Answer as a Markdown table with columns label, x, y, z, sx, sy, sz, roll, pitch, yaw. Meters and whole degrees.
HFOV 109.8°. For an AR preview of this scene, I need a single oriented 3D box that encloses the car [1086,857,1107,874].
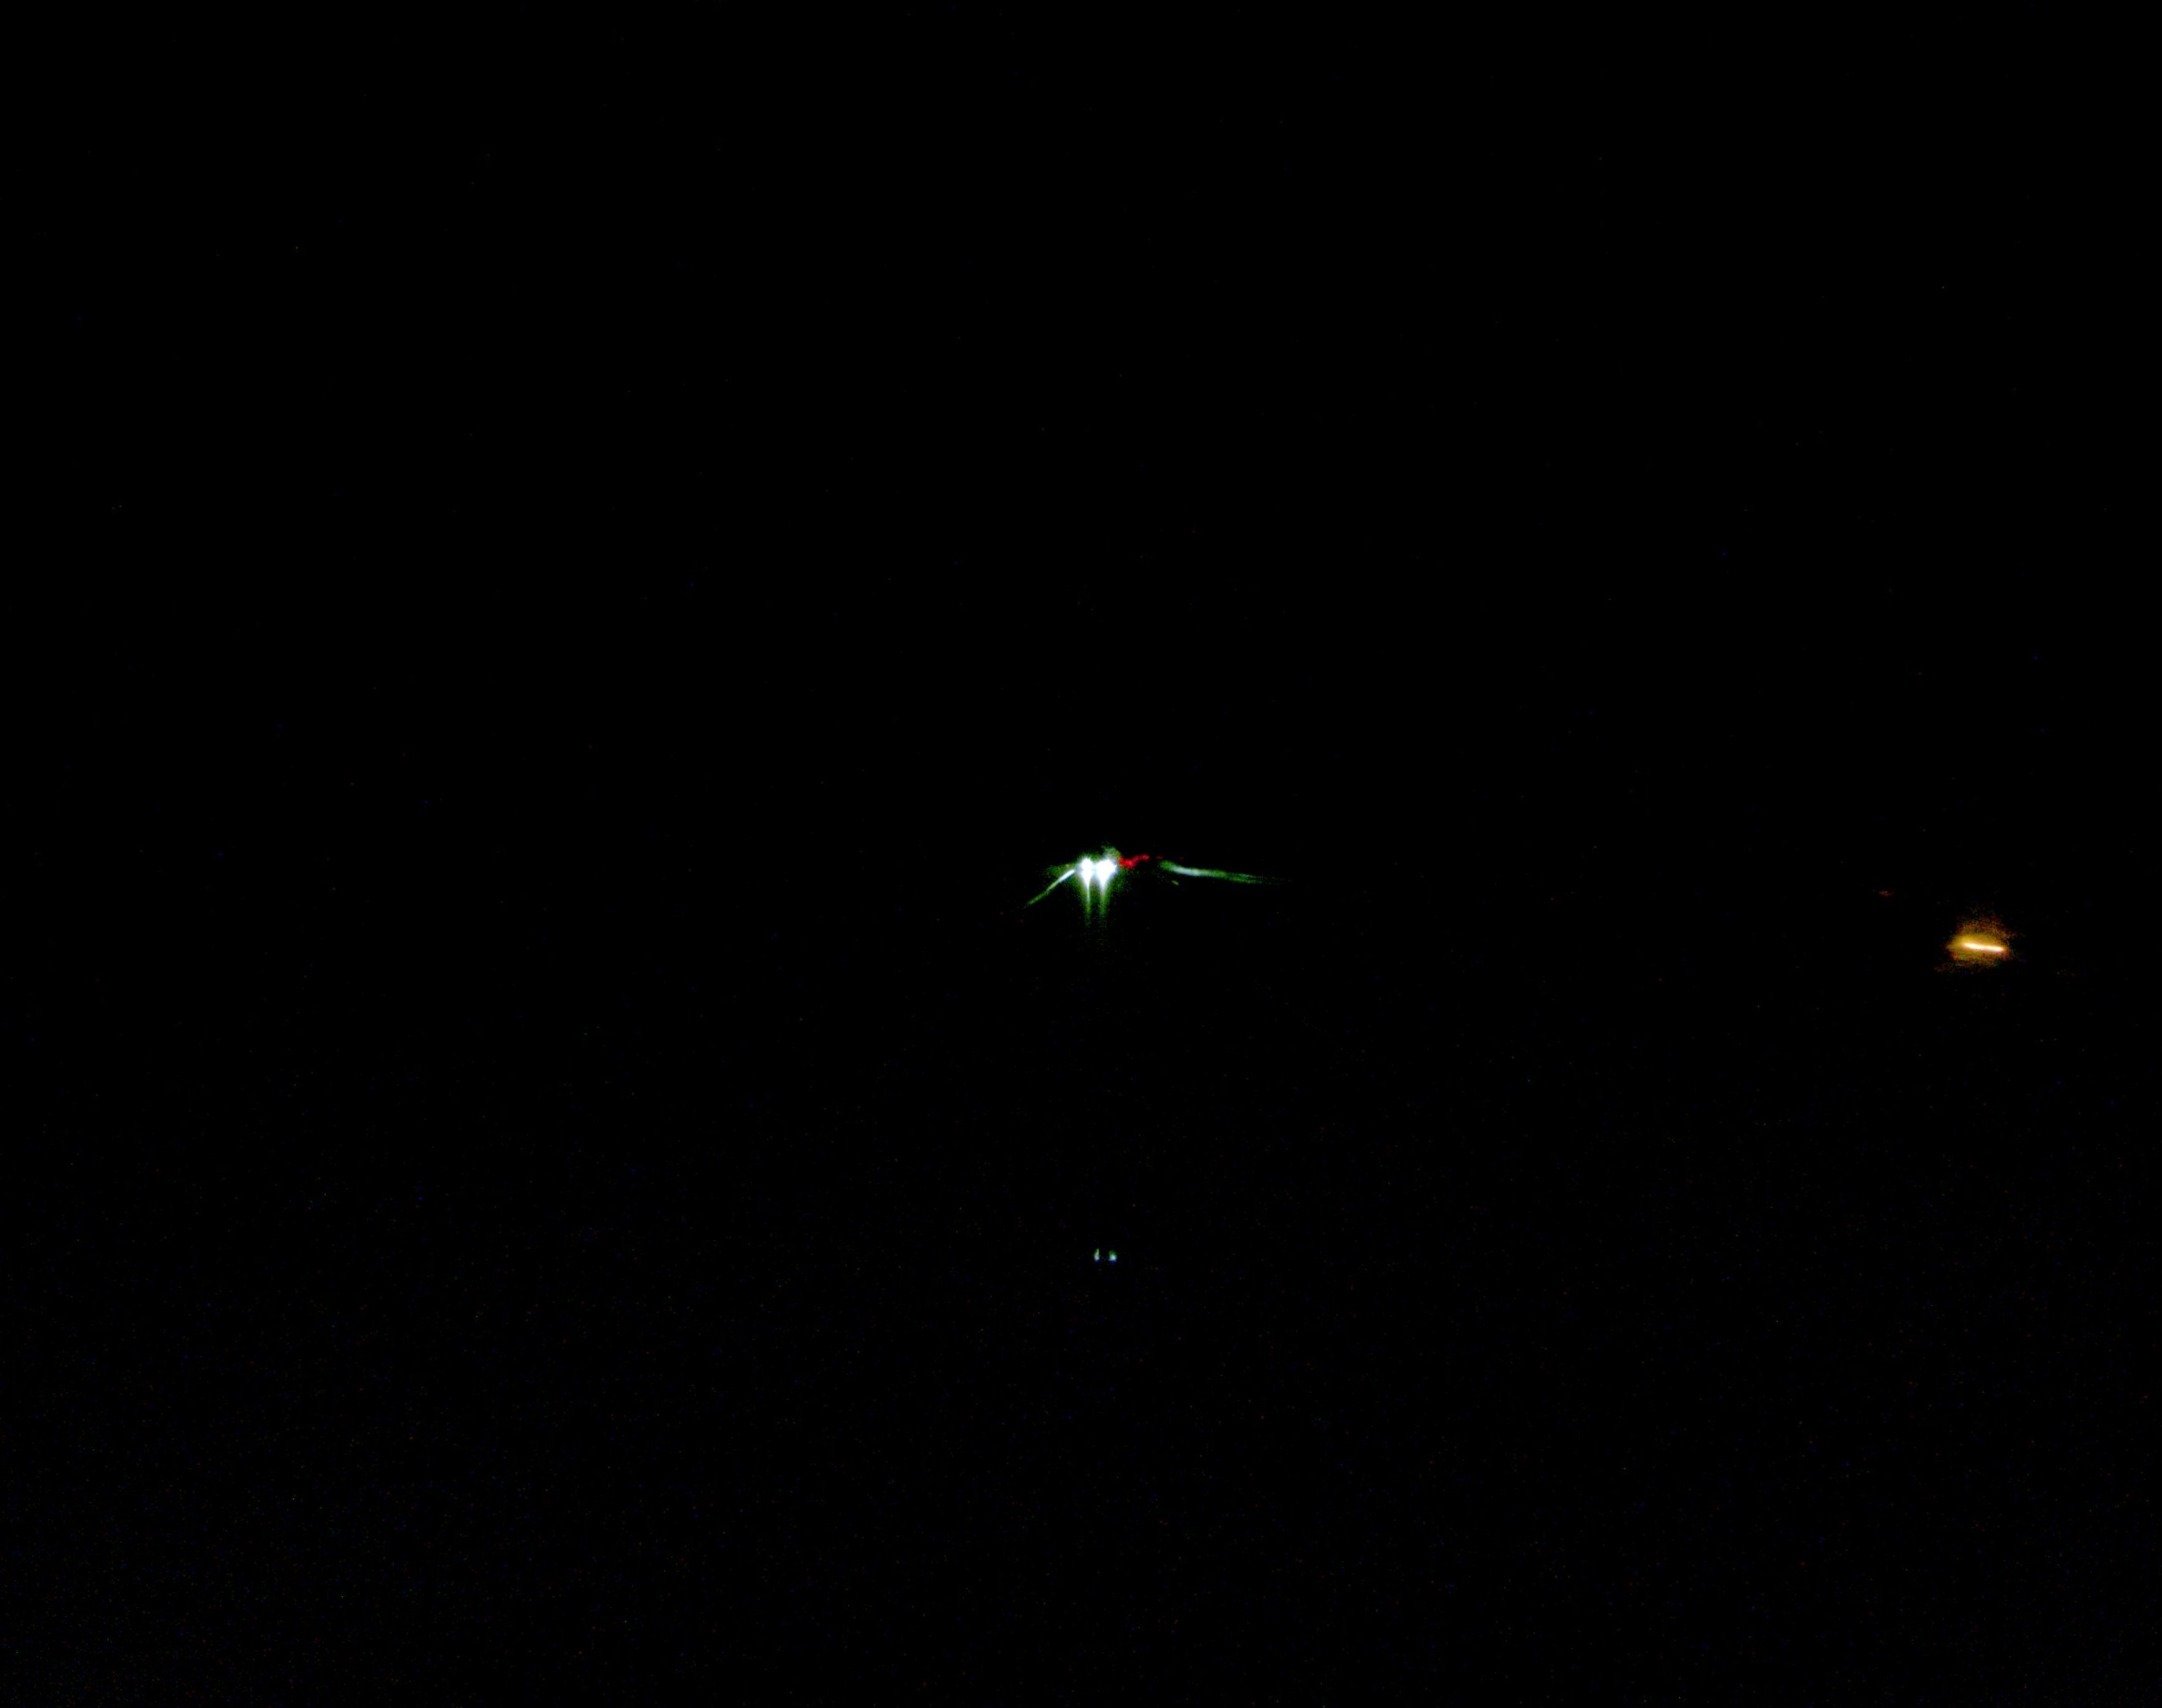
| label | x | y | z | sx | sy | sz | roll | pitch | yaw |
| --- | --- | --- | --- | --- | --- | --- | --- | --- | --- |
| car | 1.705 | 1.217 | 82.231 | 1.998 | 1.724 | 4.001 | 1 | 0 | 5 |

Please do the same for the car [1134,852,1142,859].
| label | x | y | z | sx | sy | sz | roll | pitch | yaw |
| --- | --- | --- | --- | --- | --- | --- | --- | --- | --- |
| car | 14.943 | 0.433 | 198.033 | 1.998 | 1.812 | 4.001 | 0 | 0 | 4 |

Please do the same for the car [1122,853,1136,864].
| label | x | y | z | sx | sy | sz | roll | pitch | yaw |
| --- | --- | --- | --- | --- | --- | --- | --- | --- | --- |
| car | 6.598 | 0.607 | 104.743 | 1.834 | 1.559 | 3.780 | 0 | 0 | 1 |
